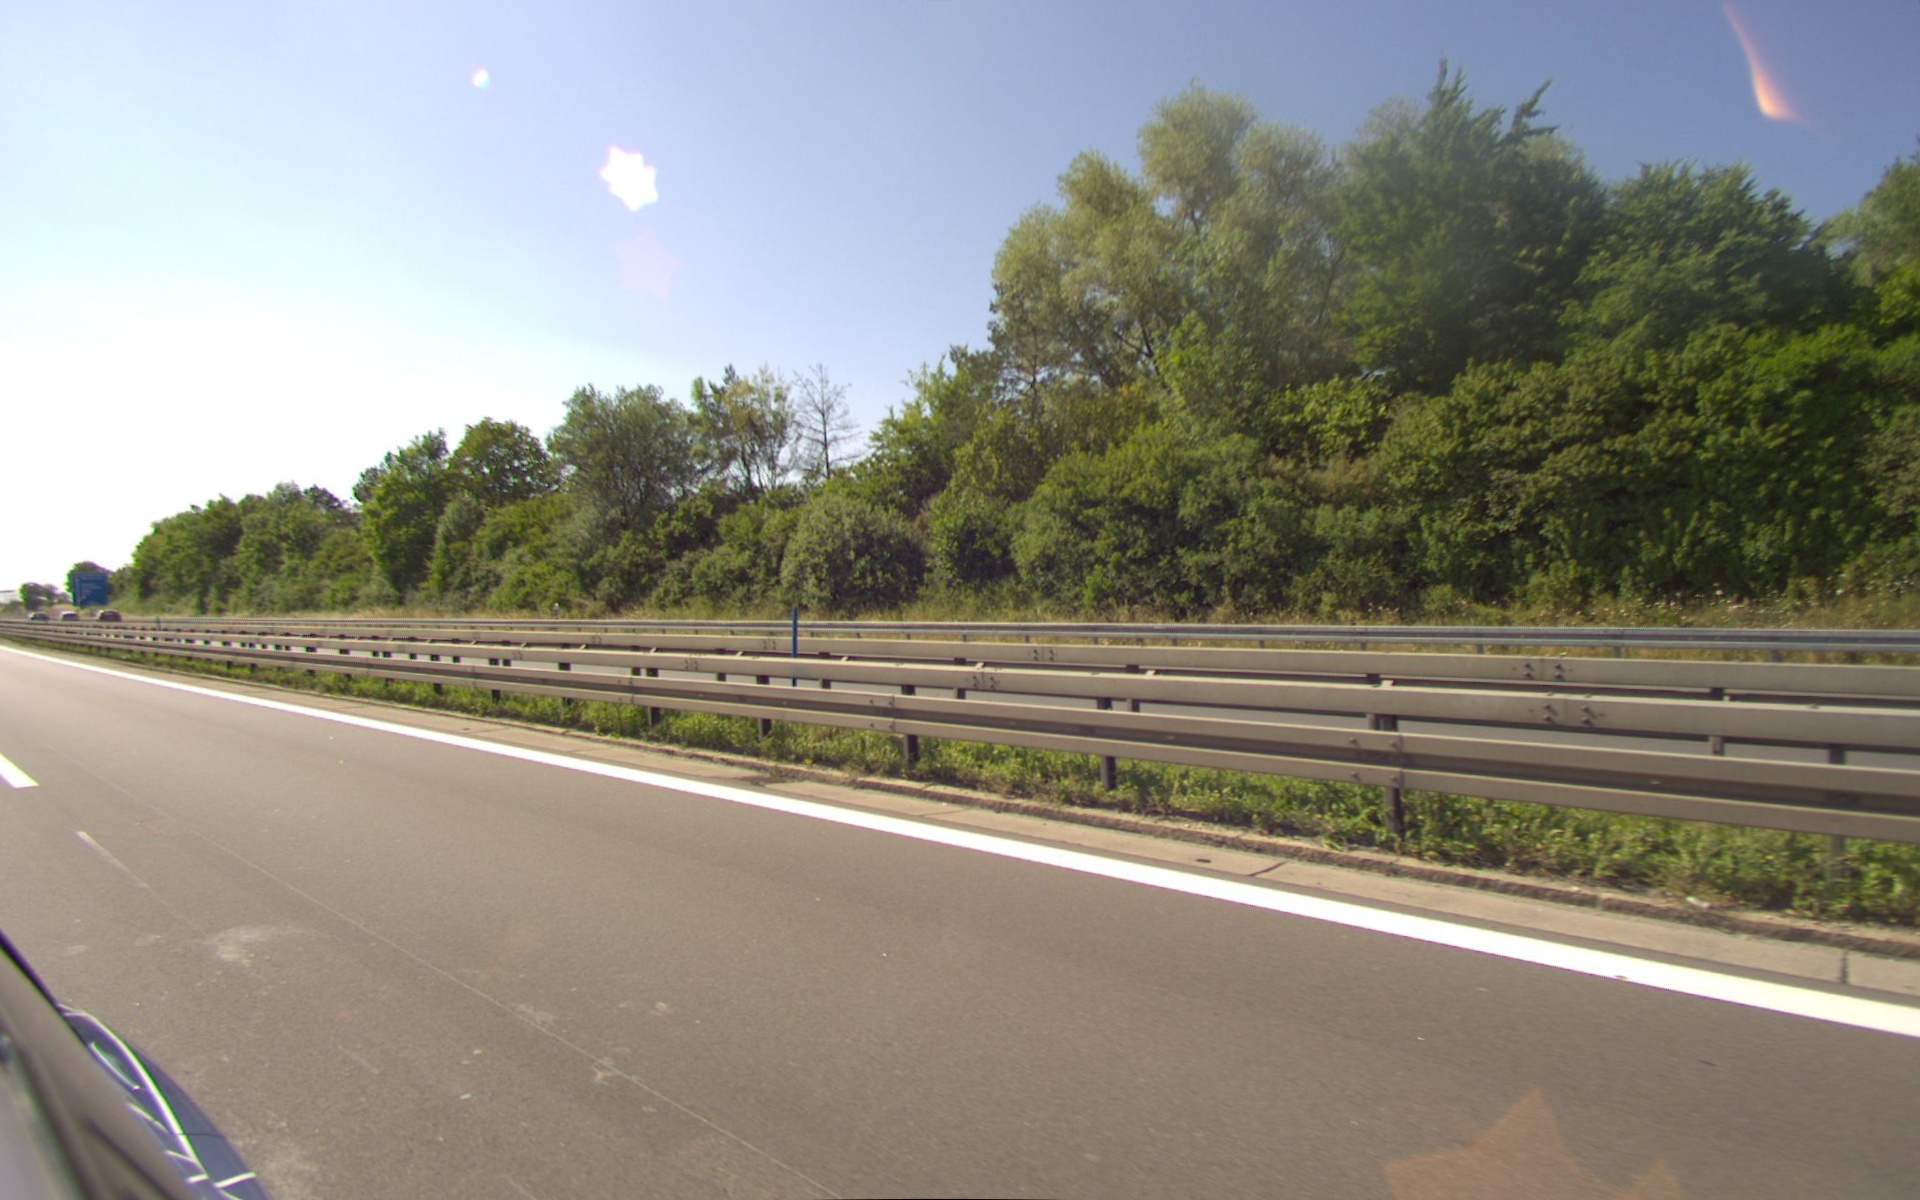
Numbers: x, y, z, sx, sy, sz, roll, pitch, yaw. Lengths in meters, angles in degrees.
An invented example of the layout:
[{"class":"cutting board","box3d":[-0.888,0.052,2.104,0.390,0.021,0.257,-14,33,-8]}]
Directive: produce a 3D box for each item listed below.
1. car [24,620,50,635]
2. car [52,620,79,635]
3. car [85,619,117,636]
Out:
[{"class":"car","box3d":[-96.656,2.874,105.978,4.539,1.504,1.632,-1,0,43]},{"class":"car","box3d":[-104.912,3.246,118.655,4.637,1.624,1.971,-1,0,44]},{"class":"car","box3d":[-79.024,2.538,93.084,4.539,1.504,1.632,-1,0,43]}]
